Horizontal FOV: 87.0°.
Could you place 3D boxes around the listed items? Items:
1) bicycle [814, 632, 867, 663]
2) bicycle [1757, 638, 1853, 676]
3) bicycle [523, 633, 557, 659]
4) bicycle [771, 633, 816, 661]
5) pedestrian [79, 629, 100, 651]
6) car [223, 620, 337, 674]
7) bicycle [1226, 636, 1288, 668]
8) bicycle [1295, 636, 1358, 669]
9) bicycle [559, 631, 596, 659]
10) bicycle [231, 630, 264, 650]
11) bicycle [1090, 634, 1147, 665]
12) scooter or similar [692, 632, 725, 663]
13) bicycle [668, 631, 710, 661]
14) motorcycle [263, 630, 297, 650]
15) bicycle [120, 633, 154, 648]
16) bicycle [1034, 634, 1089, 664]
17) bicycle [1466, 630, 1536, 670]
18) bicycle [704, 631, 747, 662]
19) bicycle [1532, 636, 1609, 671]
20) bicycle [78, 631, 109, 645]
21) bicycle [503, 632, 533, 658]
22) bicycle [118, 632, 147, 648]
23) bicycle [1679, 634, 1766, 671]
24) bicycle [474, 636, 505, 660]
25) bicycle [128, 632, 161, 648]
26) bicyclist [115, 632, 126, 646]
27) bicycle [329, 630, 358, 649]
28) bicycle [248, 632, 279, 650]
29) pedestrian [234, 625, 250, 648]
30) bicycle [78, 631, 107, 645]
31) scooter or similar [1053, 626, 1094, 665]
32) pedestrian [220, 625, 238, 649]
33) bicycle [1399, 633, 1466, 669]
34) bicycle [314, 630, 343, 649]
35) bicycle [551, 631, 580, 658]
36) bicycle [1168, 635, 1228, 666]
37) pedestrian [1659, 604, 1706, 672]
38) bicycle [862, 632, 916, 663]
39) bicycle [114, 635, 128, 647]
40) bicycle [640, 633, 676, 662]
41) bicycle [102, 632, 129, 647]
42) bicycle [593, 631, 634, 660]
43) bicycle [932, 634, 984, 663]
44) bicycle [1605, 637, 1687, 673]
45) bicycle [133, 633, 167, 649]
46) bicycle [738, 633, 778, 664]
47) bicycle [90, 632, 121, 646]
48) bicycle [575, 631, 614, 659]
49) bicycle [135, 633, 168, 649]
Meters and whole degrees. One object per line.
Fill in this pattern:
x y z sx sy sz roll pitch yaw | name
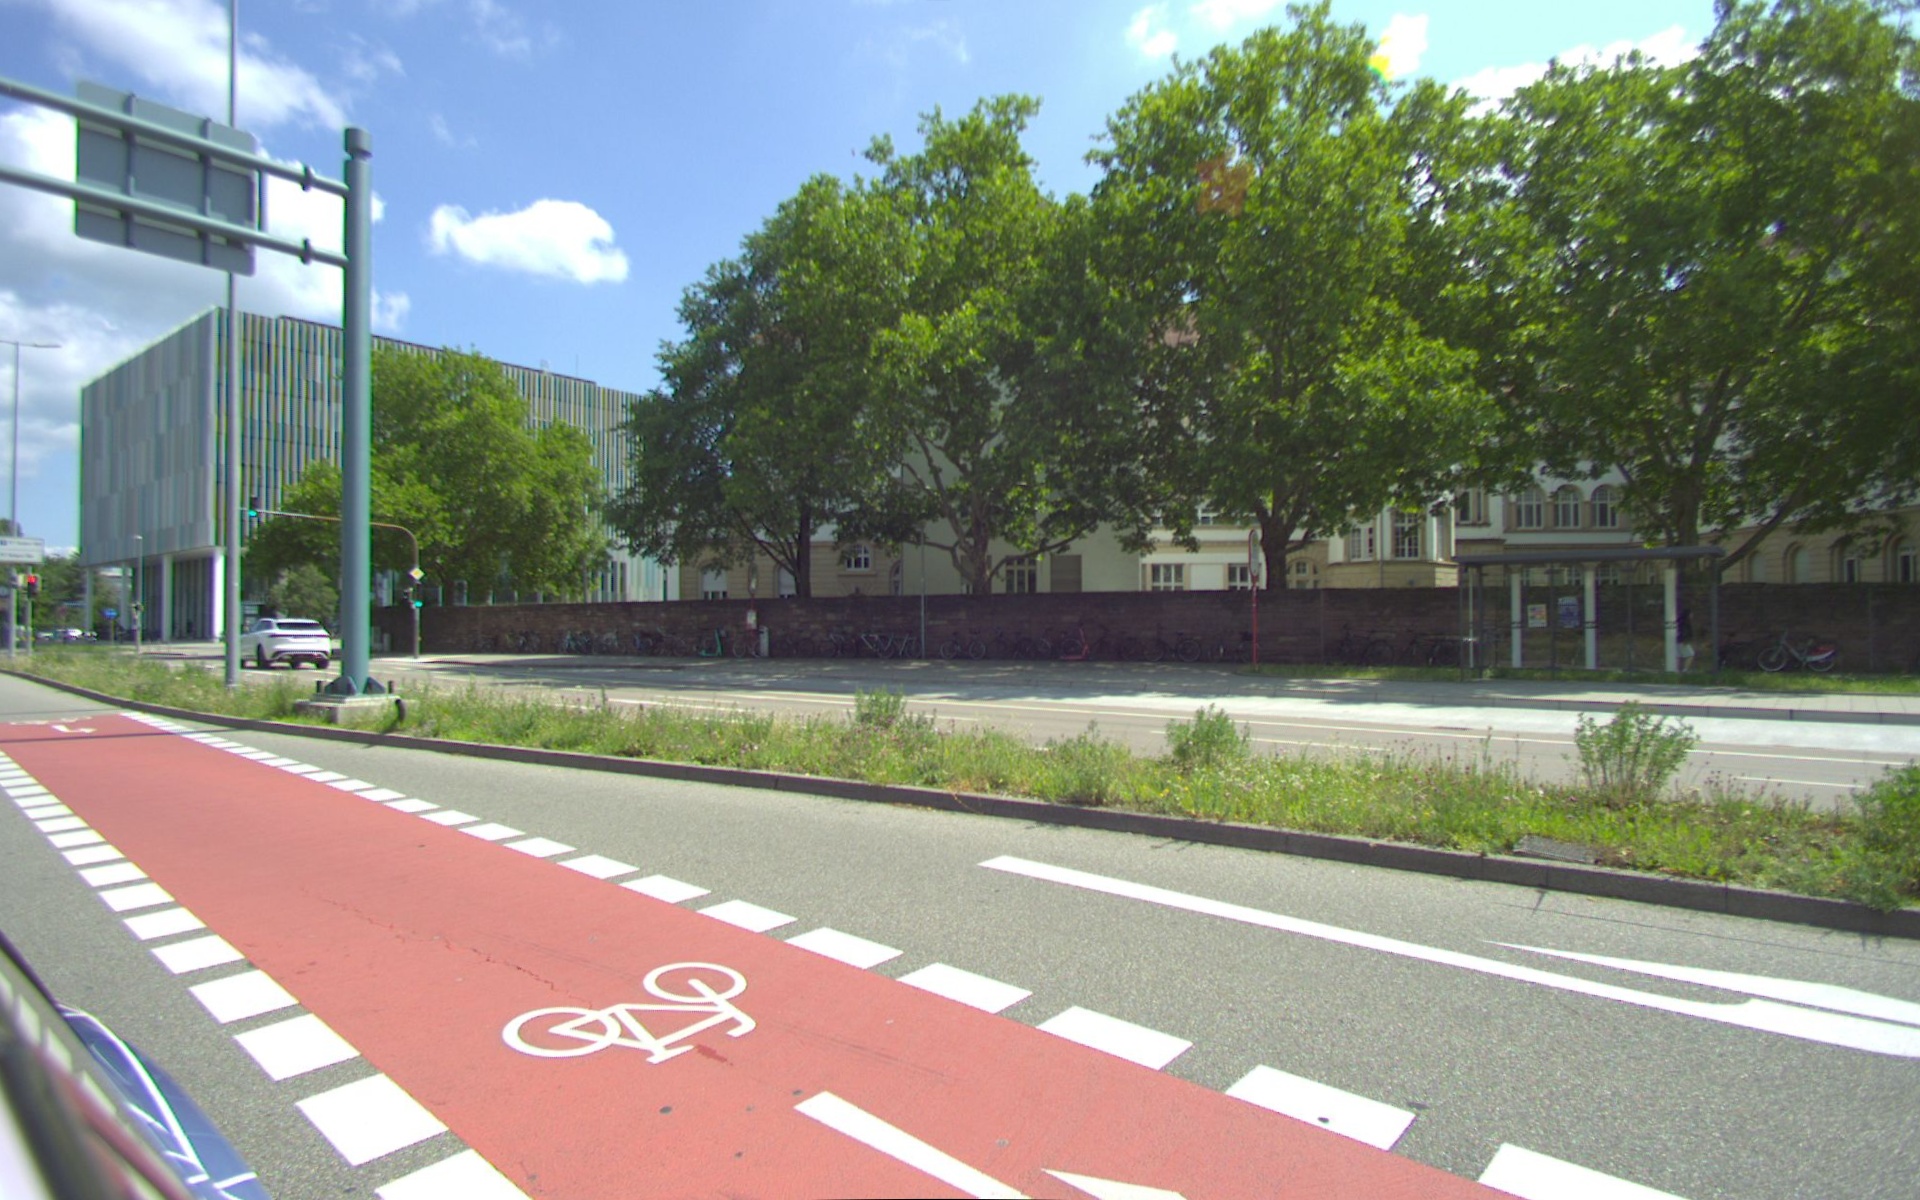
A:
-4.305 1.697 36.266 1.941 1.055 0.540 -1 -2 29 | bicycle
21.154 1.422 25.364 1.781 0.909 0.450 -1 -2 21 | bicycle
-18.802 2.046 45.306 1.589 1.161 0.616 -2 -2 33 | bicycle
-6.145 1.742 37.367 1.795 1.016 0.476 -1 -2 32 | bicycle
-66.387 3.054 77.176 0.876 1.641 0.961 -1 -2 32 | pedestrian
-22.708 1.541 33.722 4.774 1.680 2.049 -2 -2 42 | car
8.684 1.502 29.580 1.663 0.909 0.497 -2 -2 38 | bicycle
10.501 1.499 29.022 1.656 0.909 0.540 -1 -2 26 | bicycle
-16.389 1.925 43.322 1.581 1.161 0.400 -1 -2 18 | bicycle
-59.467 3.341 84.510 0.797 1.656 3.421 0 -2 -8 | bicycle
4.930 1.532 31.450 1.658 0.909 0.540 -1 -2 29 | bicycle
-9.595 1.799 38.581 1.184 1.161 0.430 -1 -2 20 | scooter or similar
-10.676 1.808 39.884 1.582 1.161 0.530 -1 -2 19 | bicycle
-57.142 3.336 85.088 0.957 1.652 3.301 0 -2 -5 | motorcycle
-80.560 3.958 99.114 0.621 1.506 2.479 -2 -2 41 | bicycle
3.235 1.549 32.321 1.658 0.909 0.540 -1 -2 29 | bicycle
14.572 1.347 27.288 1.614 1.059 0.541 -1 -2 24 | bicycle
-9.053 1.796 39.113 1.582 1.161 0.530 -1 -2 19 | bicycle
16.235 1.425 26.953 1.653 0.909 0.541 -1 -2 21 | bicycle
-94.211 4.140 110.060 0.621 1.506 2.479 -2 -2 41 | bicycle
-20.212 2.041 46.271 1.589 1.161 0.495 -2 -2 33 | bicycle
-82.811 3.994 101.244 0.621 1.506 2.172 -2 -2 41 | bicycle
19.442 1.332 25.831 1.653 0.909 0.541 -1 -2 21 | bicycle
-22.032 2.239 47.395 1.589 1.107 0.567 -2 -2 33 | bicycle
-80.769 3.979 100.260 0.621 1.506 2.479 -2 -2 41 | bicycle
-73.171 3.390 88.218 0.834 1.235 0.610 -2 -2 43 | bicyclist
-51.959 3.326 85.342 0.983 1.564 3.423 0 -2 -13 | bicycle
-58.476 3.439 84.974 0.919 1.505 2.690 0 -1 -4 | bicycle
-61.420 3.122 86.617 0.955 1.940 0.882 0 -1 -23 | pedestrian
-95.126 4.156 110.970 0.656 1.506 2.273 -2 -2 41 | bicycle
3.517 1.415 31.423 1.184 1.192 0.430 -1 -2 20 | scooter or similar
-60.007 3.051 83.056 0.955 1.940 0.882 0 -1 -20 | pedestrian
13.044 1.408 27.998 1.655 0.959 0.541 -1 -2 24 | bicycle
-53.183 3.320 85.321 0.983 1.564 3.423 0 -2 -13 | bicycle
-17.327 1.949 44.455 1.591 1.161 0.409 -2 -2 36 | bicycle
7.171 1.505 30.497 1.656 0.909 0.540 -1 -2 26 | bicycle
17.446 0.909 24.444 0.752 1.629 0.612 -1 -1 20 | pedestrian
-2.457 1.654 35.117 1.887 1.055 0.540 -1 -2 29 | bicycle
-73.164 3.545 88.240 2.163 1.006 0.638 -2 -2 43 | bicycle
-12.226 1.911 40.956 1.587 1.161 0.398 -1 -2 30 | bicycle
-87.758 4.060 105.200 0.621 1.506 2.044 -2 -2 41 | bicycle
-14.364 1.877 41.970 1.576 1.161 0.401 -1 -2 8 | bicycle
-0.072 1.618 33.714 1.658 0.956 0.540 -1 -2 29 | bicycle
17.849 1.426 26.374 1.653 0.909 0.541 -1 -2 21 | bicycle
-77.574 3.923 96.938 0.621 1.506 2.420 -2 -2 41 | bicycle
-7.625 1.834 38.248 1.587 1.151 0.429 -1 -2 29 | bicycle
-89.966 4.082 106.555 0.621 1.506 2.479 -2 -2 41 | bicycle
-15.365 1.886 42.557 1.576 1.161 0.401 -1 -2 8 | bicycle
-78.155 3.937 97.810 2.473 1.506 0.731 1 -2 -39 | bicycle
